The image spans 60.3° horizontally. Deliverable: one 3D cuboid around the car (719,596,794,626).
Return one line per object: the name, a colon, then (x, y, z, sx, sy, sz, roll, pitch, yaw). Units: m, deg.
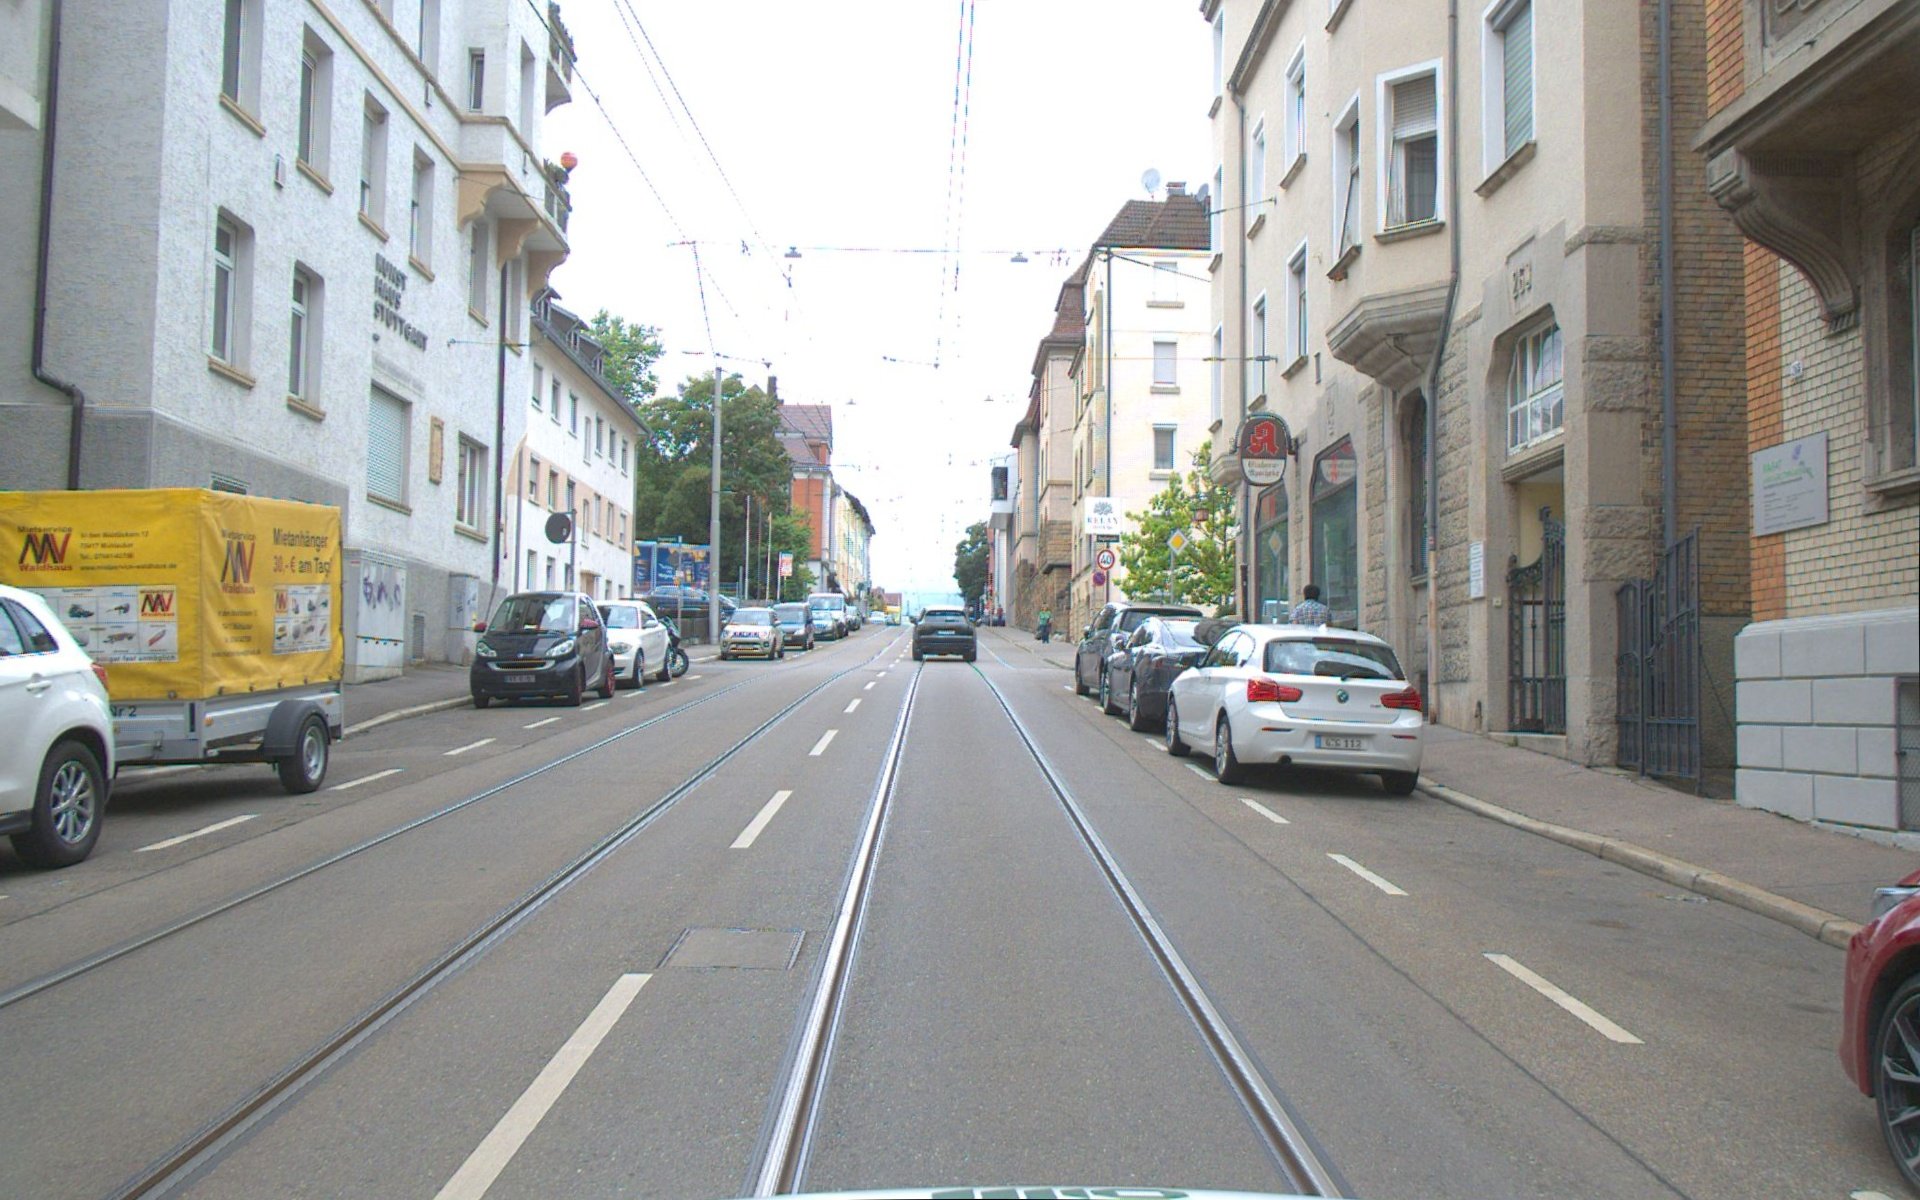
car: (-11.244, 0.606, 91.179, 3.895, 1.578, 1.681, 1, 0, -16)

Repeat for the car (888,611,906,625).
car: (-7.153, 2.041, 188.018, 1.817, 1.635, 4.296, 1, 0, -1)

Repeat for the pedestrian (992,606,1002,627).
pedestrian: (2.926, 1.305, 131.286, 0.775, 1.696, 0.799, 1, -1, 1)

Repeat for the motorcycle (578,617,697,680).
motorcycle: (-6.127, 0.916, 31.446, 2.063, 1.154, 0.767, -1, 0, 13)

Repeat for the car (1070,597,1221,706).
car: (2.972, 0.789, 27.368, 1.700, 1.564, 4.571, 3, 0, -3)

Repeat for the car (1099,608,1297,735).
car: (3.012, 0.863, 21.913, 1.744, 1.415, 4.690, 3, 0, -2)

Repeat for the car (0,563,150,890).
car: (-5.595, 0.651, 7.563, 1.662, 1.621, 4.268, -1, 0, 0)

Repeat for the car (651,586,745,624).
car: (-11.931, 0.228, 75.522, 3.978, 1.579, 1.687, 3, 0, -2)

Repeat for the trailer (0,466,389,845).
trailer: (-5.624, 0.326, 11.715, 1.713, 2.193, 4.071, -1, 0, 0)

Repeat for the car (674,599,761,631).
car: (-11.749, 0.740, 80.239, 3.978, 1.470, 1.687, 1, 0, -2)

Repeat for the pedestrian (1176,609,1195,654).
pedestrian: (8.106, 1.136, 59.400, 0.547, 1.610, 0.685, 1, -1, 0)

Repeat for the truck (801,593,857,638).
truck: (-6.855, 0.810, 87.327, 2.233, 2.226, 8.024, 1, 0, 0)

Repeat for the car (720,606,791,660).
car: (-6.265, 0.991, 51.017, 1.662, 1.583, 3.850, 1, 0, 1)

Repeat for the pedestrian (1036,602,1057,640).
pedestrian: (3.914, 0.951, 74.516, 0.853, 1.716, 0.663, -1, -1, -3)

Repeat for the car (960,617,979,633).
car: (1.000, 2.598, 173.579, 1.953, 1.590, 4.289, 1, 0, 0)

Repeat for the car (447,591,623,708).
car: (-5.878, 0.656, 23.184, 1.662, 1.494, 3.023, -1, 0, 0)

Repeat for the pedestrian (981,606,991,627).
pedestrian: (2.082, 1.304, 131.297, 0.775, 1.696, 0.799, 1, -1, 1)

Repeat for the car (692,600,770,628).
car: (-11.776, 0.709, 85.196, 3.797, 1.381, 1.687, 1, 0, -2)

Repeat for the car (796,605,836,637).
car: (-6.951, 0.996, 80.076, 1.663, 1.458, 4.479, -1, 0, -2)

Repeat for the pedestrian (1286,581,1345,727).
pedestrian: (4.569, 0.691, 21.279, 0.587, 1.834, 0.631, 1, -1, -1)

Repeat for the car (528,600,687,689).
car: (-5.928, 0.713, 28.281, 1.743, 1.381, 4.291, 1, 0, 0)

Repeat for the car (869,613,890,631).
car: (-7.580, 2.025, 155.398, 1.817, 1.635, 4.296, 1, 0, -1)

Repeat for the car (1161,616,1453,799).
car: (3.157, 0.922, 15.923, 1.715, 1.415, 4.306, 3, 0, -2)

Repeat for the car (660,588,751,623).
car: (-11.941, 0.269, 77.805, 3.978, 1.550, 1.738, 1, 0, -2)

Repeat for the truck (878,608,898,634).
truck: (-9.025, 2.649, 208.181, 2.255, 3.090, 9.031, 1, -1, -1)

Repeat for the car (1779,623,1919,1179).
car: (3.537, 0.858, 2.972, 1.744, 1.501, 4.588, 3, 0, -1)

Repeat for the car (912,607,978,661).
car: (-0.462, 1.029, 52.143, 1.953, 1.590, 4.289, 1, 0, 0)

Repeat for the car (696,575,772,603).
car: (-11.955, -0.576, 87.770, 3.797, 1.381, 1.687, 1, 0, -2)

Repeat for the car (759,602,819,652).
car: (-6.381, 0.987, 62.024, 1.708, 1.766, 4.519, -1, 0, 1)
